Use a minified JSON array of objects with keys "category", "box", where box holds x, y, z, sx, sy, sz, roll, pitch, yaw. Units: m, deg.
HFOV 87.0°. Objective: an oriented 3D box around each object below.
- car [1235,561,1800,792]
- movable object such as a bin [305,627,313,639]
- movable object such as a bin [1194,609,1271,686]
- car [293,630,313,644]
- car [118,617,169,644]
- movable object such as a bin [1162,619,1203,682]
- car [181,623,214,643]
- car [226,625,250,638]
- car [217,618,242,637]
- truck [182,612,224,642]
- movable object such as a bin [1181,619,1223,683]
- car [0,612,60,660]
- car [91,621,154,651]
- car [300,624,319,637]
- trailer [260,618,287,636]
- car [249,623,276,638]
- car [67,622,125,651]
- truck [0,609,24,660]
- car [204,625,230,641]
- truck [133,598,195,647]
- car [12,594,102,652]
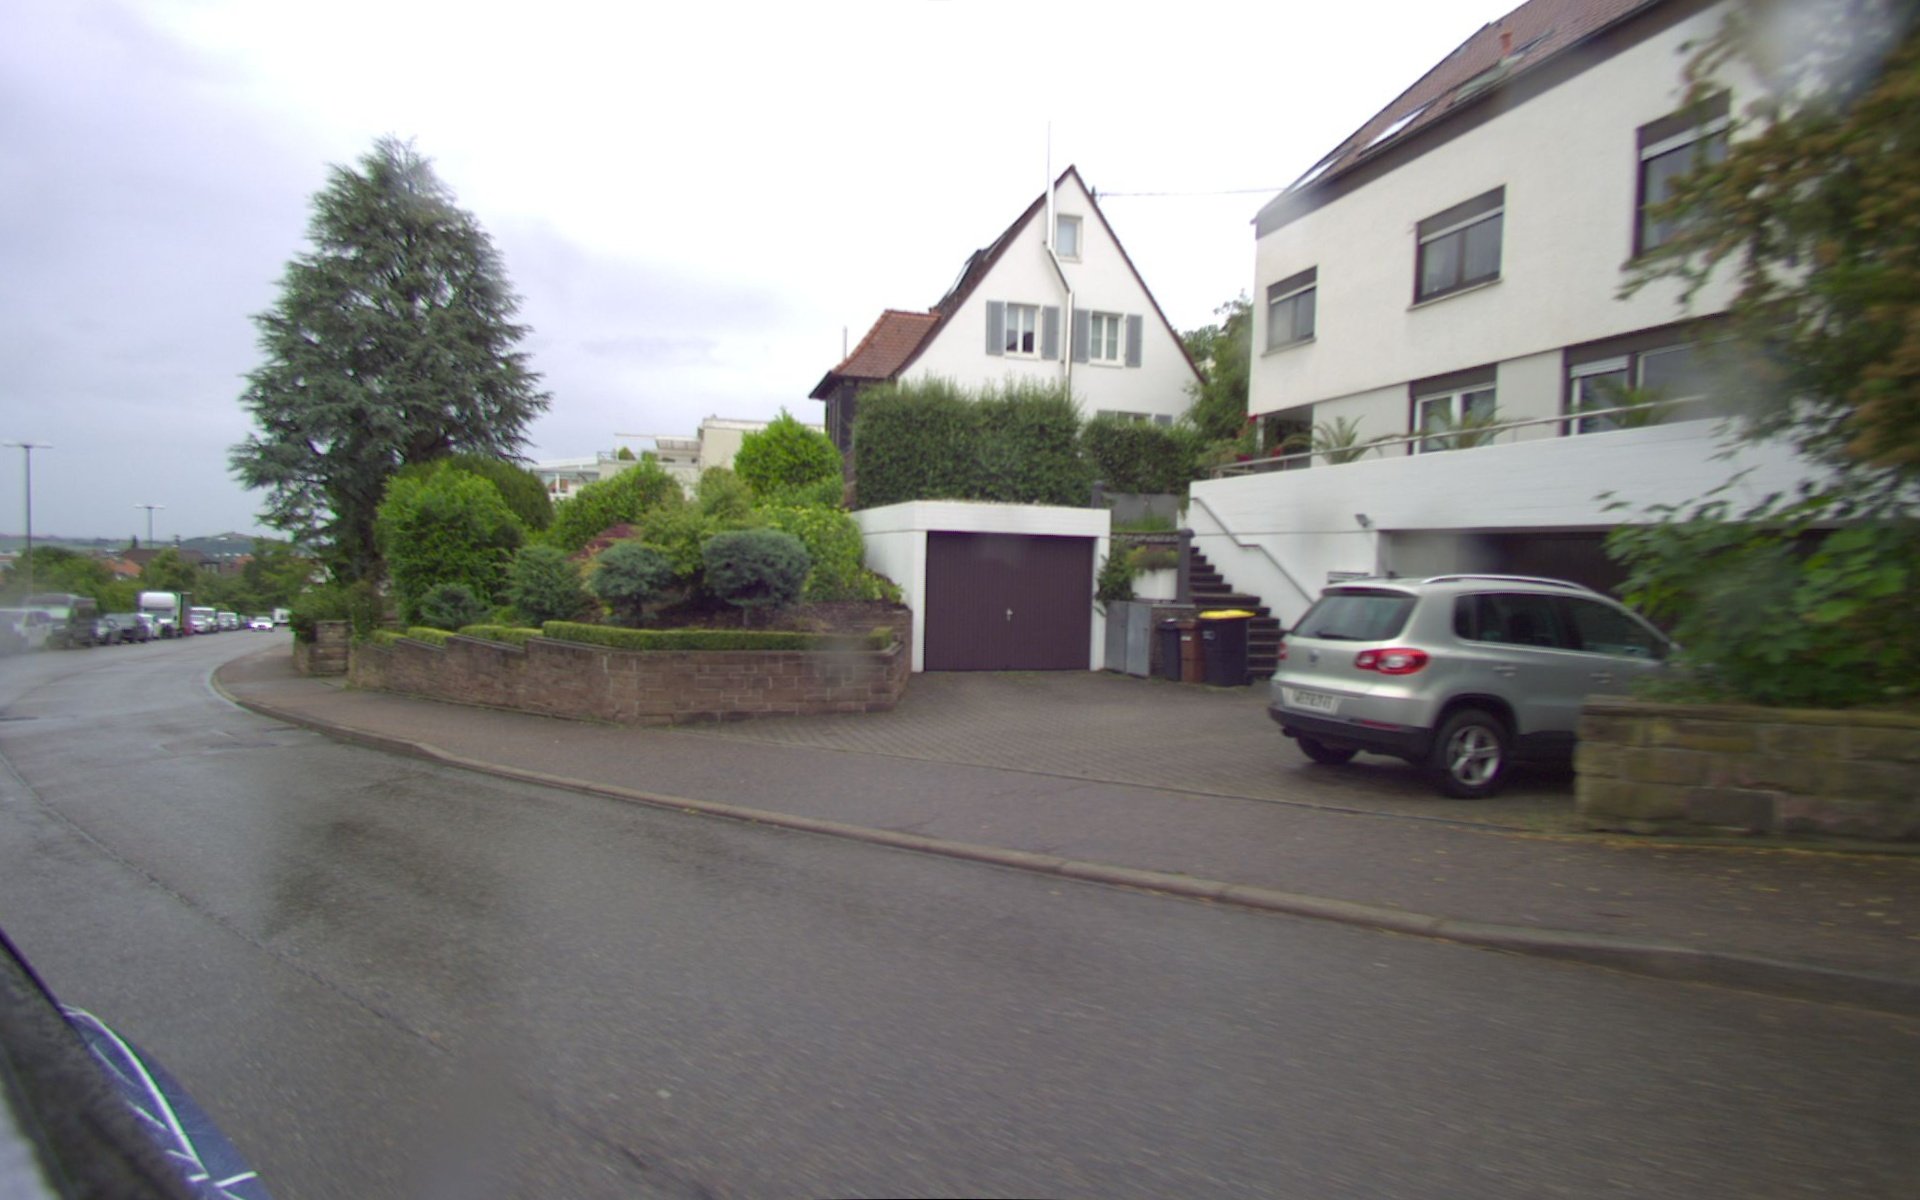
[{"category":"car","box":[4.537,0.628,8.419,3.878,1.596,1.869,3,-2,-15]},{"category":"movable object such as a bin","box":[-58.874,2.969,91.469,0.594,1.072,0.700,0,-1,-35]},{"category":"movable object such as a bin","box":[3.931,0.674,14.635,0.803,1.061,0.703,-1,-1,-20]},{"category":"car","box":[-73.696,4.108,113.547,1.749,1.448,4.374,5,-4,-31]},{"category":"car","box":[-54.044,1.989,67.065,1.820,1.696,5.655,2,-2,-31]},{"category":"movable object such as a bin","box":[3.387,0.765,15.412,0.497,0.936,0.319,0,-1,-20]},{"category":"car","box":[-65.120,2.796,86.484,1.735,1.617,4.680,2,-2,-31]},{"category":"car","box":[-84.308,3.672,118.262,1.790,1.518,4.738,2,-2,-30]},{"category":"car","box":[-78.435,2.929,108.678,1.823,1.896,4.924,2,-2,-33]},{"category":"truck","box":[-69.497,2.480,92.950,2.208,2.651,6.558,2,-2,-30]},{"category":"movable object such as a bin","box":[3.597,0.755,15.070,0.497,0.936,0.319,0,-1,-20]},{"category":"car","box":[-38.985,1.461,41.642,1.801,1.856,5.285,2,-2,-30]},{"category":"car","box":[-48.738,2.078,58.987,1.909,1.684,4.709,2,-2,-29]},{"category":"car","box":[-82.567,3.898,128.537,1.774,1.579,4.397,3,-3,-31]},{"category":"trailer","box":[-97.021,3.801,143.002,1.921,2.475,5.452,2,-2,-21]},{"category":"car","box":[-73.186,3.226,106.240,1.790,1.518,4.739,2,-2,-29]},{"category":"car","box":[-45.634,1.927,53.518,1.567,1.440,3.809,2,-2,-29]},{"category":"truck","box":[-36.146,1.285,36.628,2.085,1.866,6.637,-1,-1,-32]},{"category":"car","box":[-75.188,3.347,102.495,1.625,1.575,3.975,2,-2,-29]},{"category":"truck","box":[-57.843,1.607,73.677,2.402,3.361,7.988,2,-2,-31]},{"category":"car","box":[-42.383,1.103,47.668,2.003,2.524,5.973,2,-2,-31]}]
